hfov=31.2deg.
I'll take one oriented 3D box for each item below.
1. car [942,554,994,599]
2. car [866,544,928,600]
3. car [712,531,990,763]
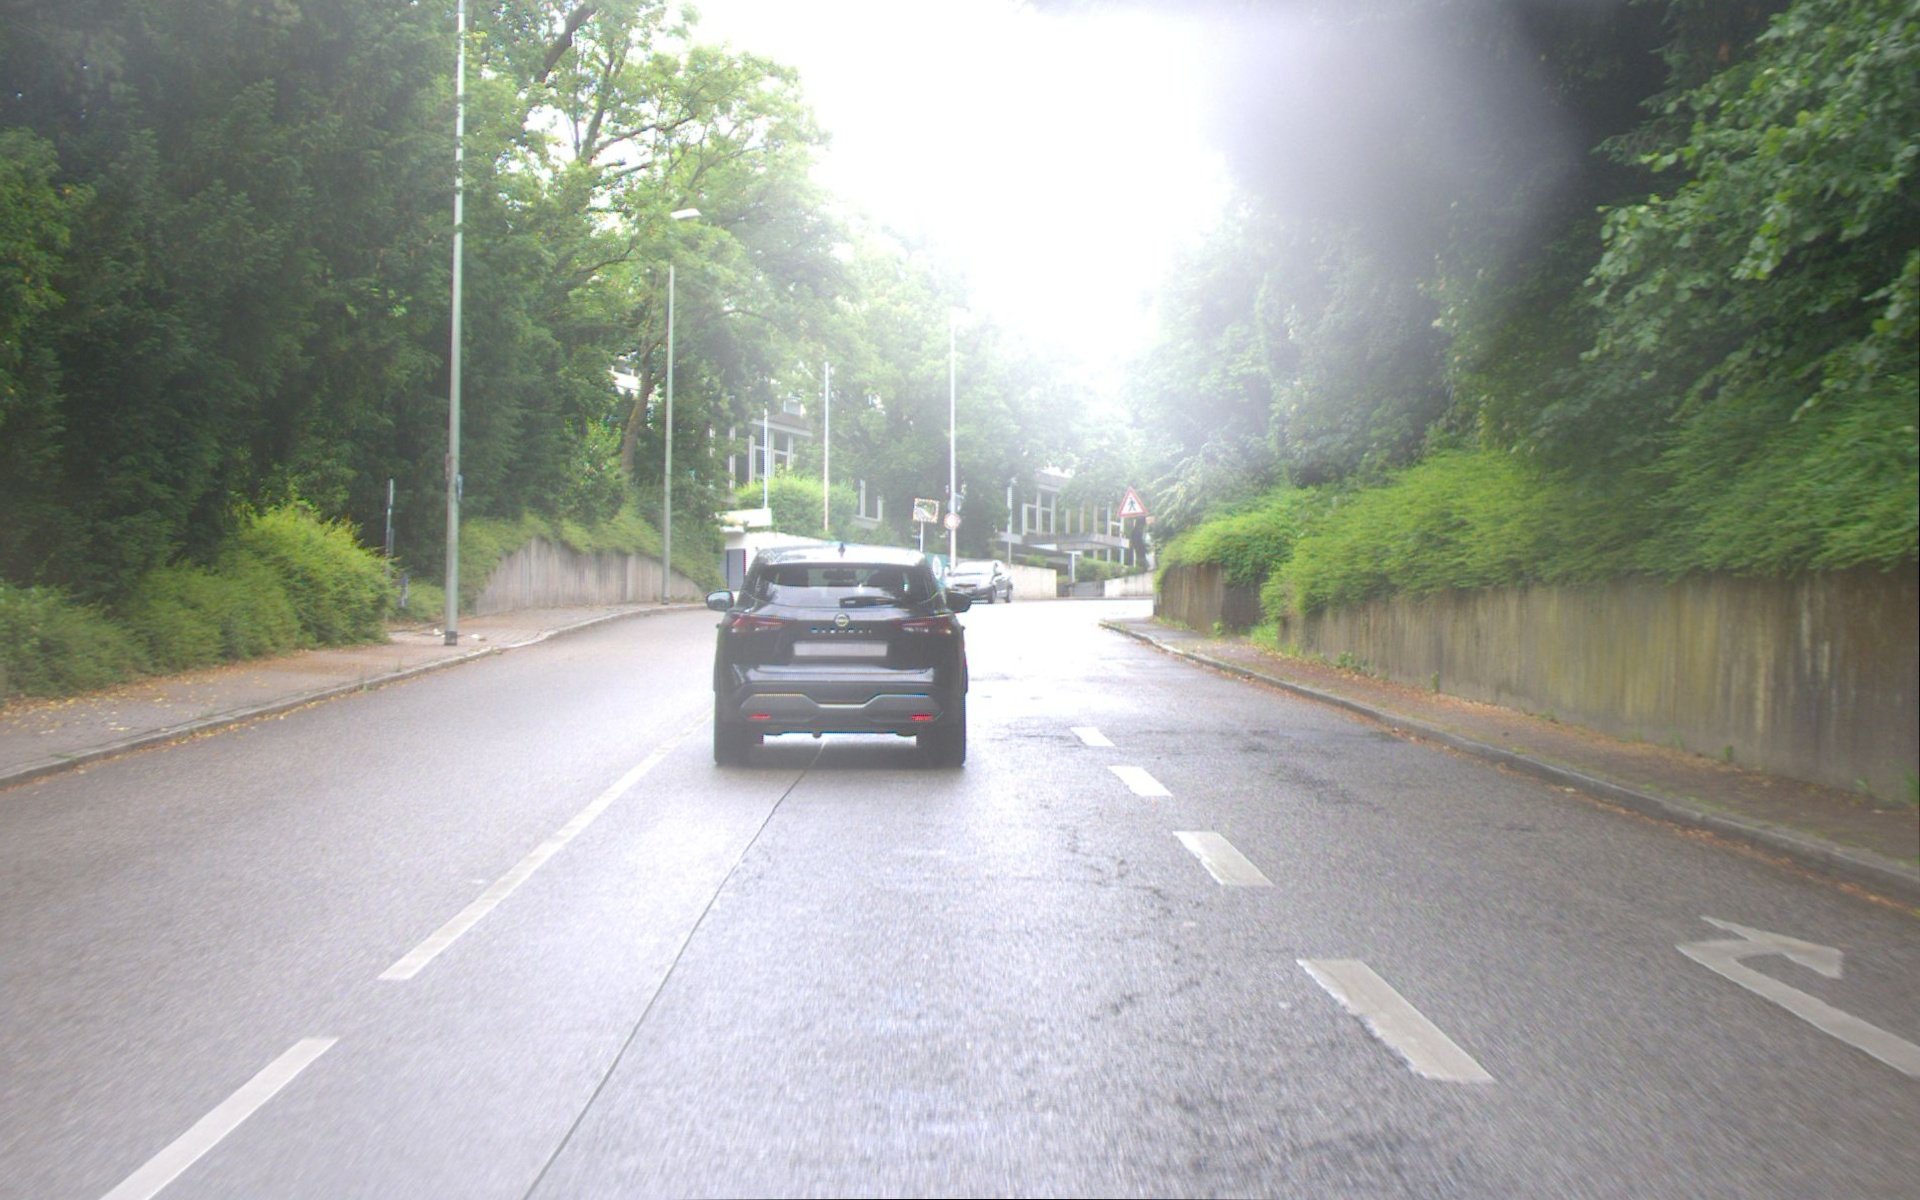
[{"bbox_3d":[0.250,-0.826,117.691,1.675,1.491,3.460,0,1,-1],"label":"car"},{"bbox_3d":[-1.979,-0.885,107.699,1.830,1.705,4.000,1,1,-2],"label":"car"},{"bbox_3d":[-0.798,0.299,25.971,1.928,1.607,4.000,0,1,-1],"label":"car"}]
